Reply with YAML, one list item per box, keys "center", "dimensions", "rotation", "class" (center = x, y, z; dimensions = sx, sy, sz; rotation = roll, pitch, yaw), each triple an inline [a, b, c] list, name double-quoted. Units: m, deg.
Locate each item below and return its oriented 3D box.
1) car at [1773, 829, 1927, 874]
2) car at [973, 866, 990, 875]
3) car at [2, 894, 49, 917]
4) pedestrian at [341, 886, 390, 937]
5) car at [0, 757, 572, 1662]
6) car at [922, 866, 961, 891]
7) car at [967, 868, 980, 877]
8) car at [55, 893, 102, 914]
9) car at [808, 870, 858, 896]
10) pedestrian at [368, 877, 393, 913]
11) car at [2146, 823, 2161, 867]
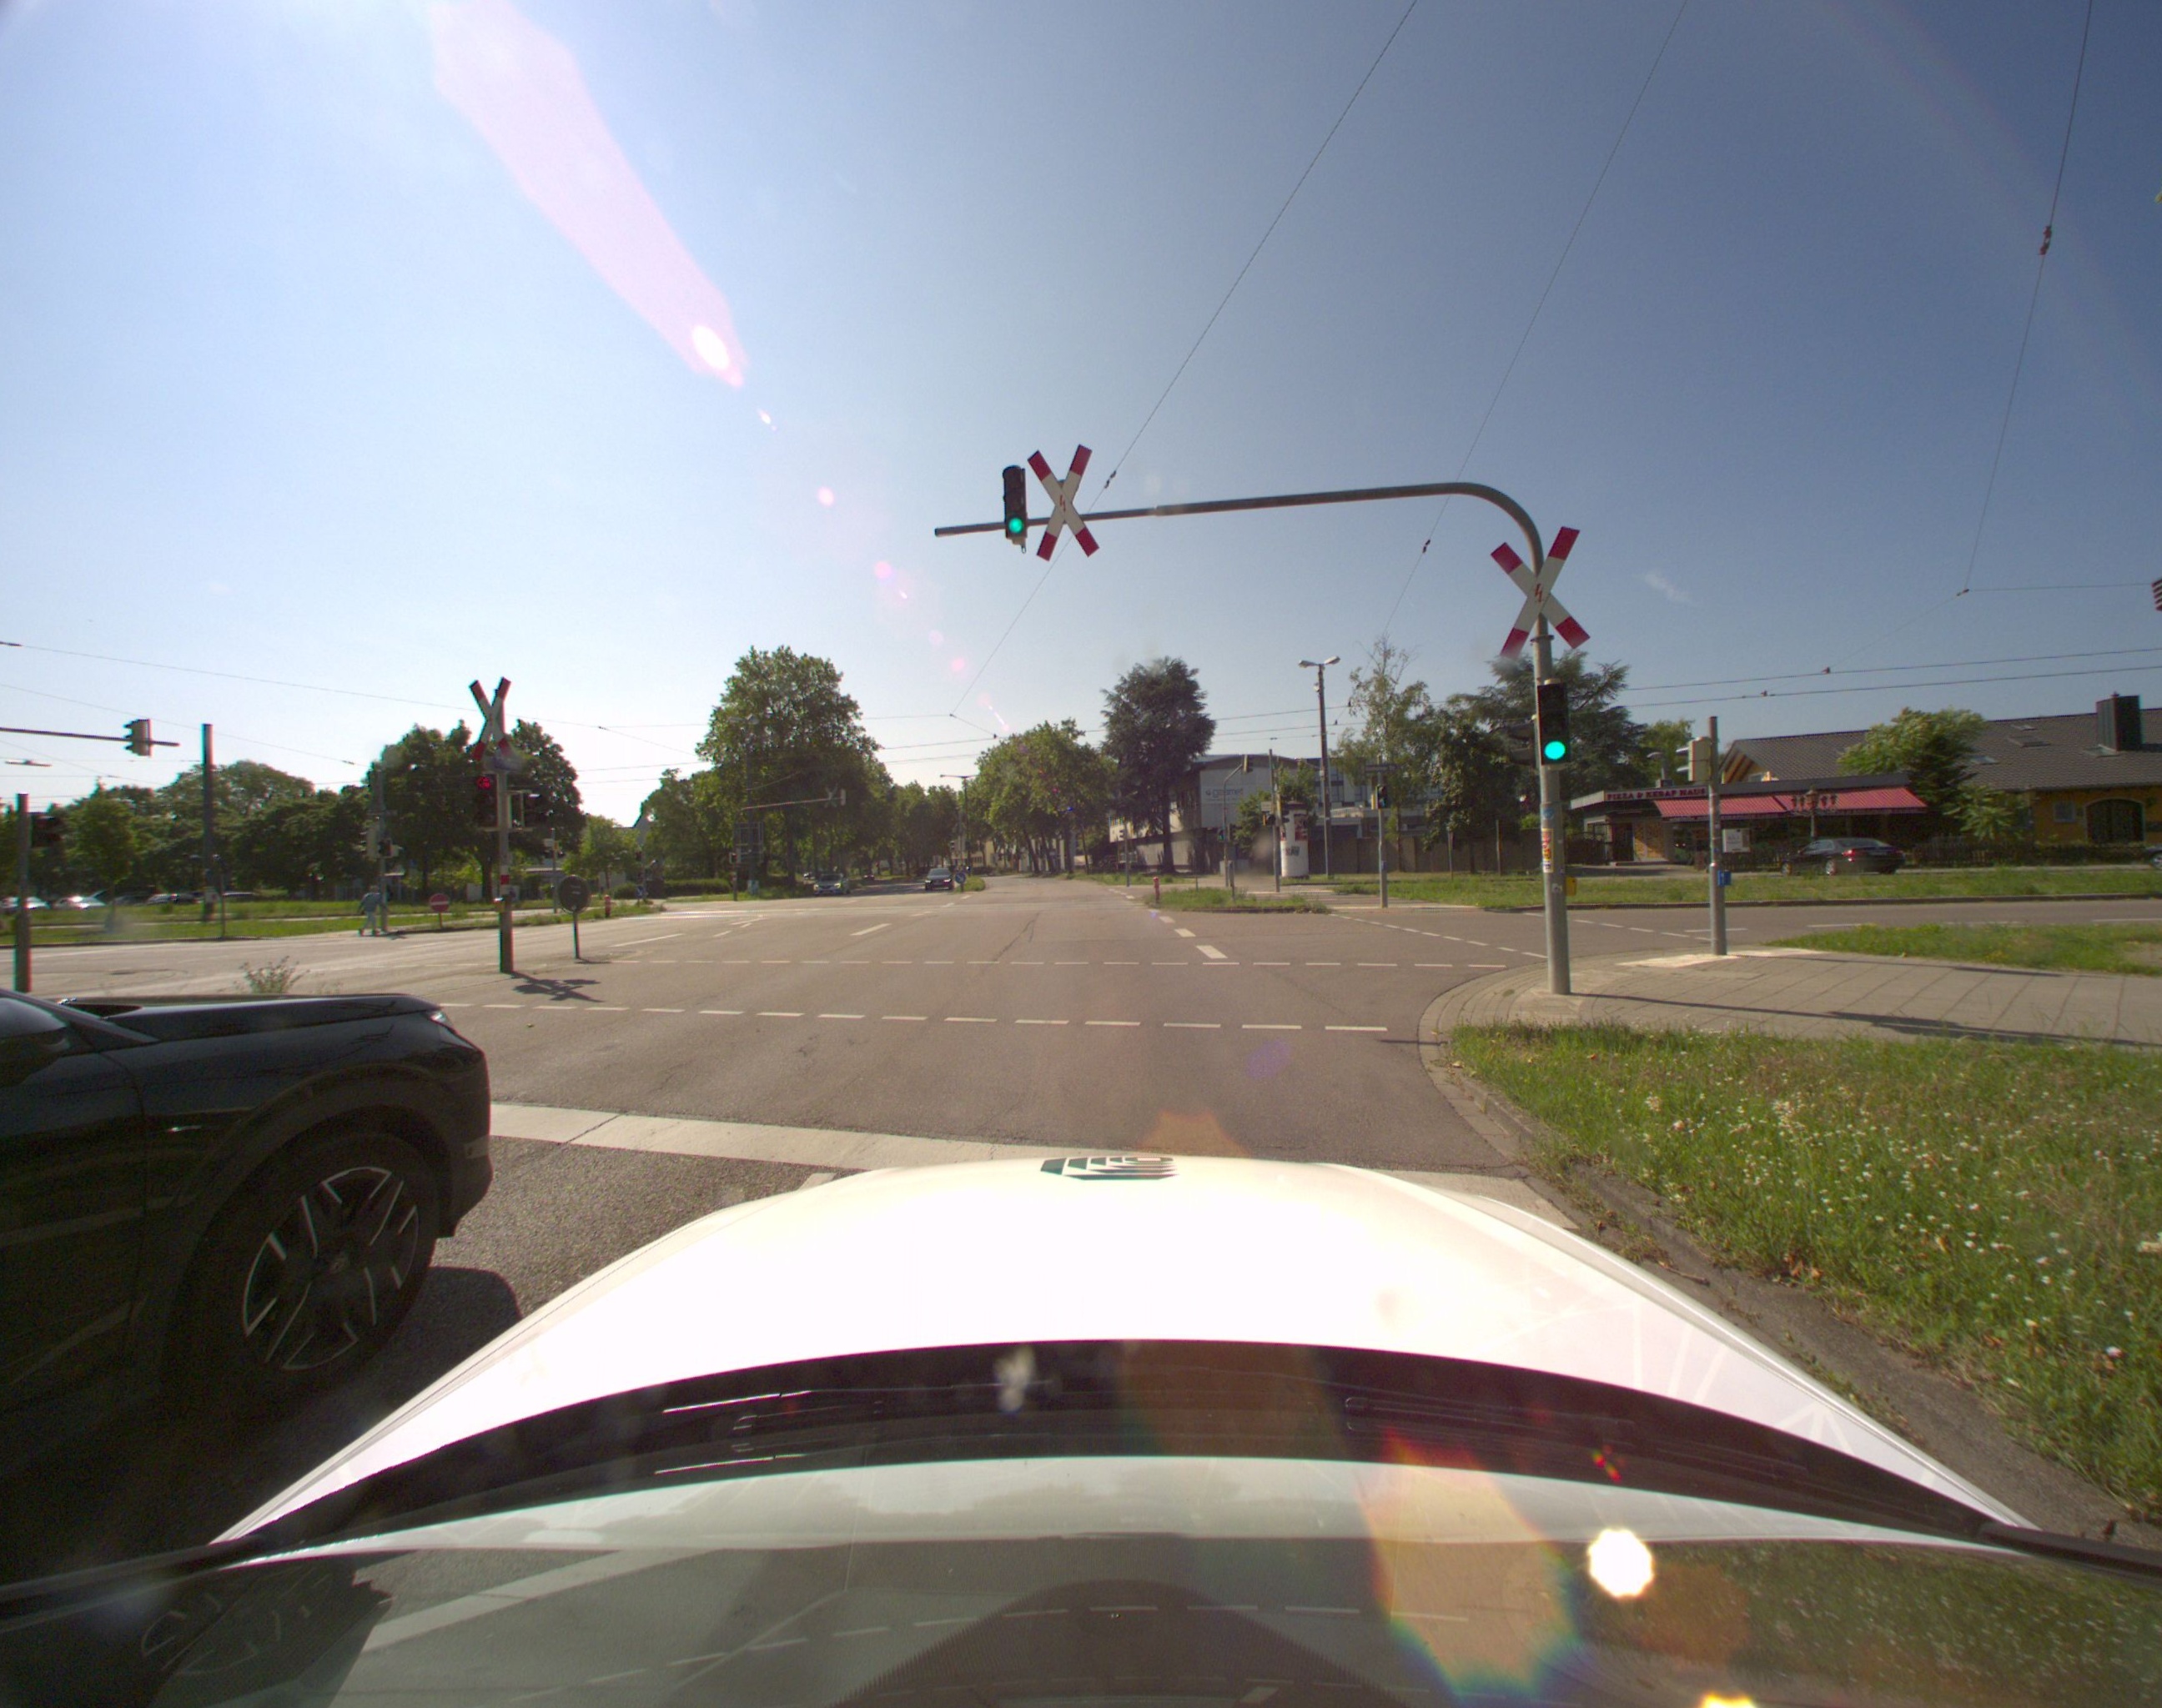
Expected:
- center: [28.965, -0.035, 30.944]
  dimensions: [2.119, 1.499, 5.141]
  rotation: [-2, -2, 17]
  class: "car"
- center: [-17.685, 2.965, 144.172]
  dimensions: [1.714, 1.487, 4.683]
  rotation: [-3, 0, -22]
  class: "car"
- center: [-73.163, 3.575, 56.446]
  dimensions: [3.299, 1.446, 1.357]
  rotation: [-3, -1, 27]
  class: "car"
- center: [-22.236, 1.785, 25.333]
  dimensions: [0.692, 1.501, 0.873]
  rotation: [-2, -1, 14]
  class: "pedestrian"
- center: [-2.987, 0.675, 0.958]
  dimensions: [1.865, 1.696, 4.437]
  rotation: [-1, 0, 2]
  class: "car"
- center: [-9.226, 1.601, 54.005]
  dimensions: [1.687, 1.508, 4.131]
  rotation: [-2, -1, 2]
  class: "car"
- center: [-19.736, 3.381, 149.334]
  dimensions: [1.712, 1.487, 4.075]
  rotation: [-2, 0, -18]
  class: "car"
- center: [-72.167, 3.560, 58.612]
  dimensions: [3.299, 1.446, 1.457]
  rotation: [-3, -1, 27]
  class: "car"
- center: [-16.456, 1.896, 54.339]
  dimensions: [1.687, 1.508, 4.663]
  rotation: [-2, -1, 2]
  class: "car"
- center: [-41.384, 2.411, 48.099]
  dimensions: [0.793, 2.013, 0.710]
  rotation: [-2, -1, -8]
  class: "pedestrian"
- center: [38.525, -0.357, 26.514]
  dimensions: [2.132, 1.499, 4.199]
  rotation: [-1, -1, -5]
  class: "car"
